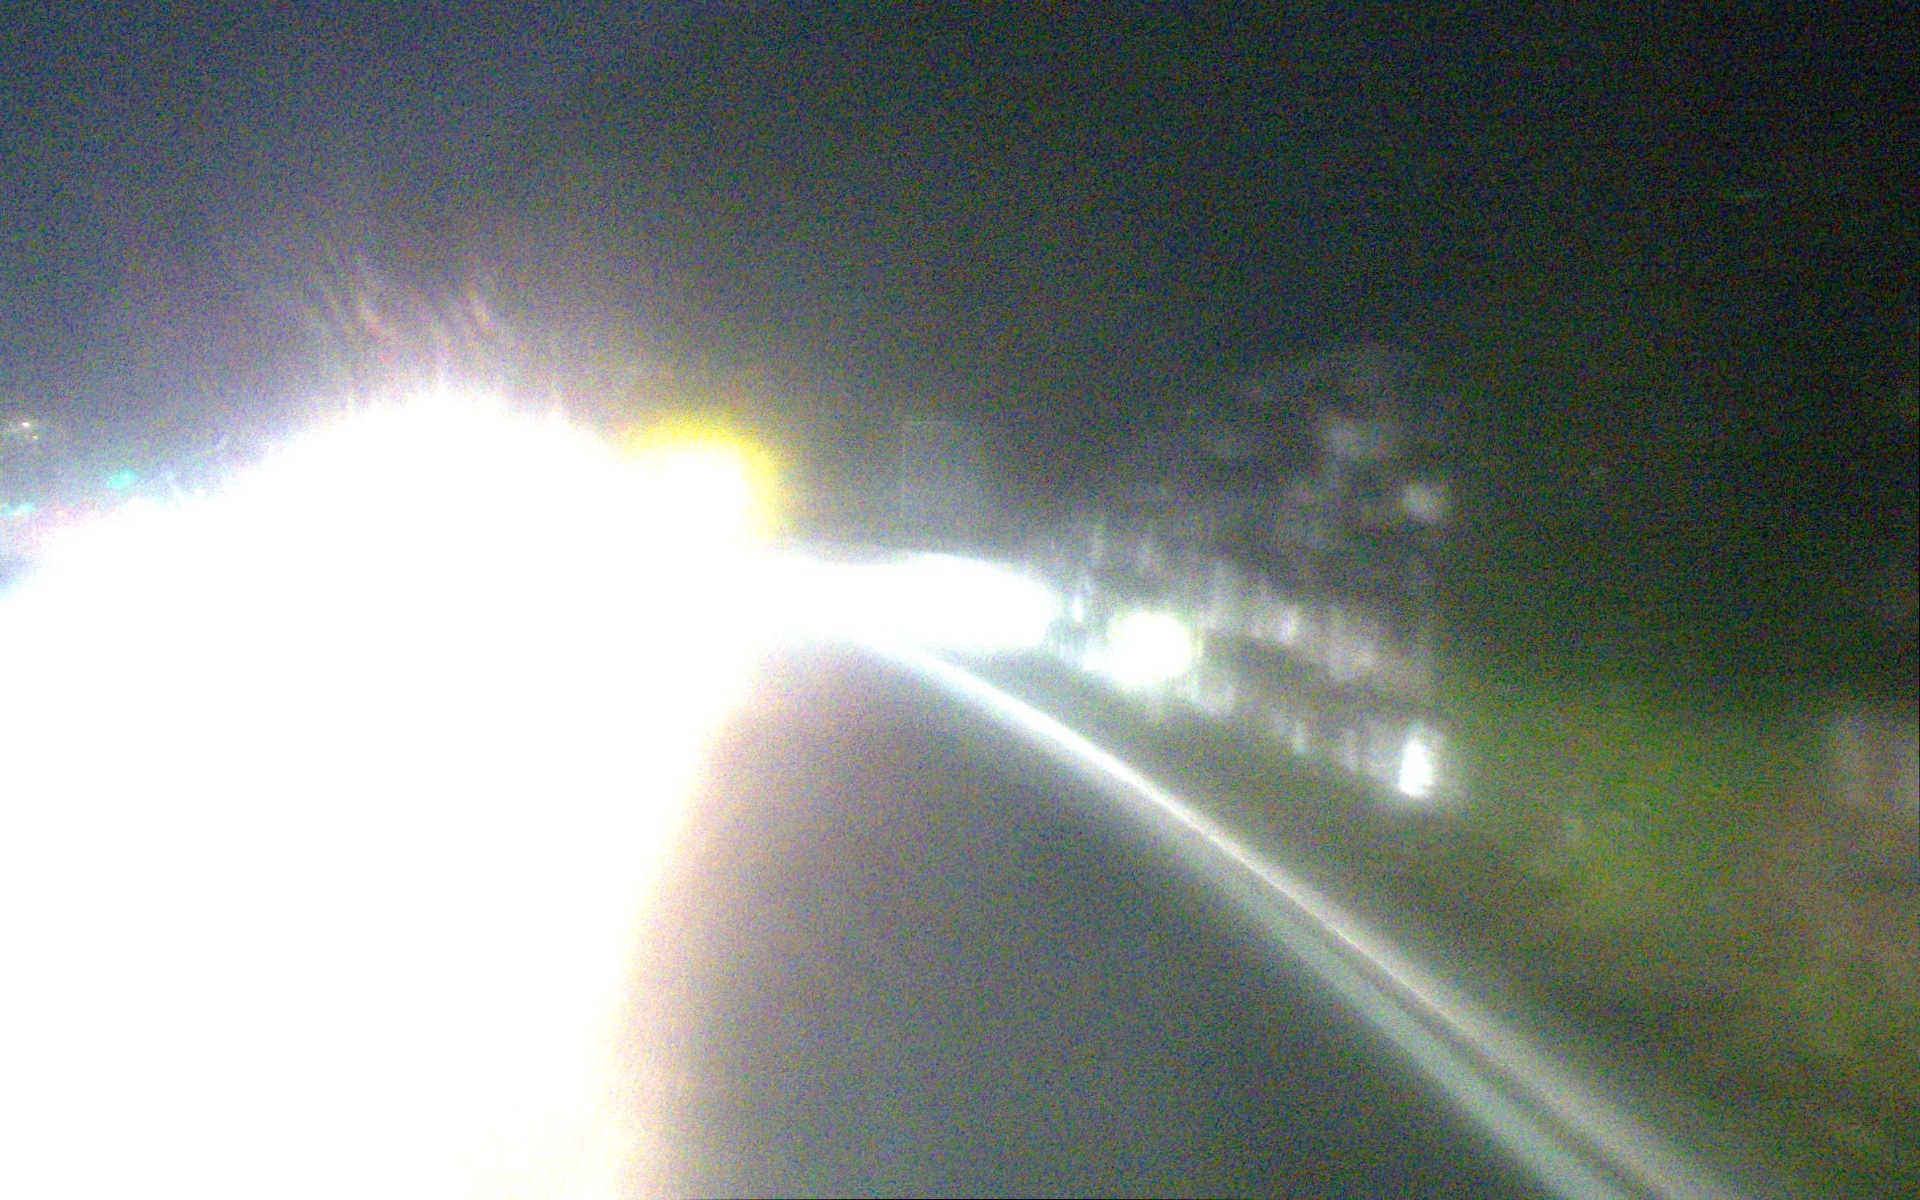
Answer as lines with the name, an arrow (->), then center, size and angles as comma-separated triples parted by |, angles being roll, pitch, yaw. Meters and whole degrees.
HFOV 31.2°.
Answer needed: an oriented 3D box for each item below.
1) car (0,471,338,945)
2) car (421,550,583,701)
car -> -4.122, 0.378, 15.360 | 1.993, 1.800, 4.596 | 0, 1, -2
car -> -5.823, 0.278, 44.145 | 1.788, 1.617, 4.378 | 0, 4, -4
